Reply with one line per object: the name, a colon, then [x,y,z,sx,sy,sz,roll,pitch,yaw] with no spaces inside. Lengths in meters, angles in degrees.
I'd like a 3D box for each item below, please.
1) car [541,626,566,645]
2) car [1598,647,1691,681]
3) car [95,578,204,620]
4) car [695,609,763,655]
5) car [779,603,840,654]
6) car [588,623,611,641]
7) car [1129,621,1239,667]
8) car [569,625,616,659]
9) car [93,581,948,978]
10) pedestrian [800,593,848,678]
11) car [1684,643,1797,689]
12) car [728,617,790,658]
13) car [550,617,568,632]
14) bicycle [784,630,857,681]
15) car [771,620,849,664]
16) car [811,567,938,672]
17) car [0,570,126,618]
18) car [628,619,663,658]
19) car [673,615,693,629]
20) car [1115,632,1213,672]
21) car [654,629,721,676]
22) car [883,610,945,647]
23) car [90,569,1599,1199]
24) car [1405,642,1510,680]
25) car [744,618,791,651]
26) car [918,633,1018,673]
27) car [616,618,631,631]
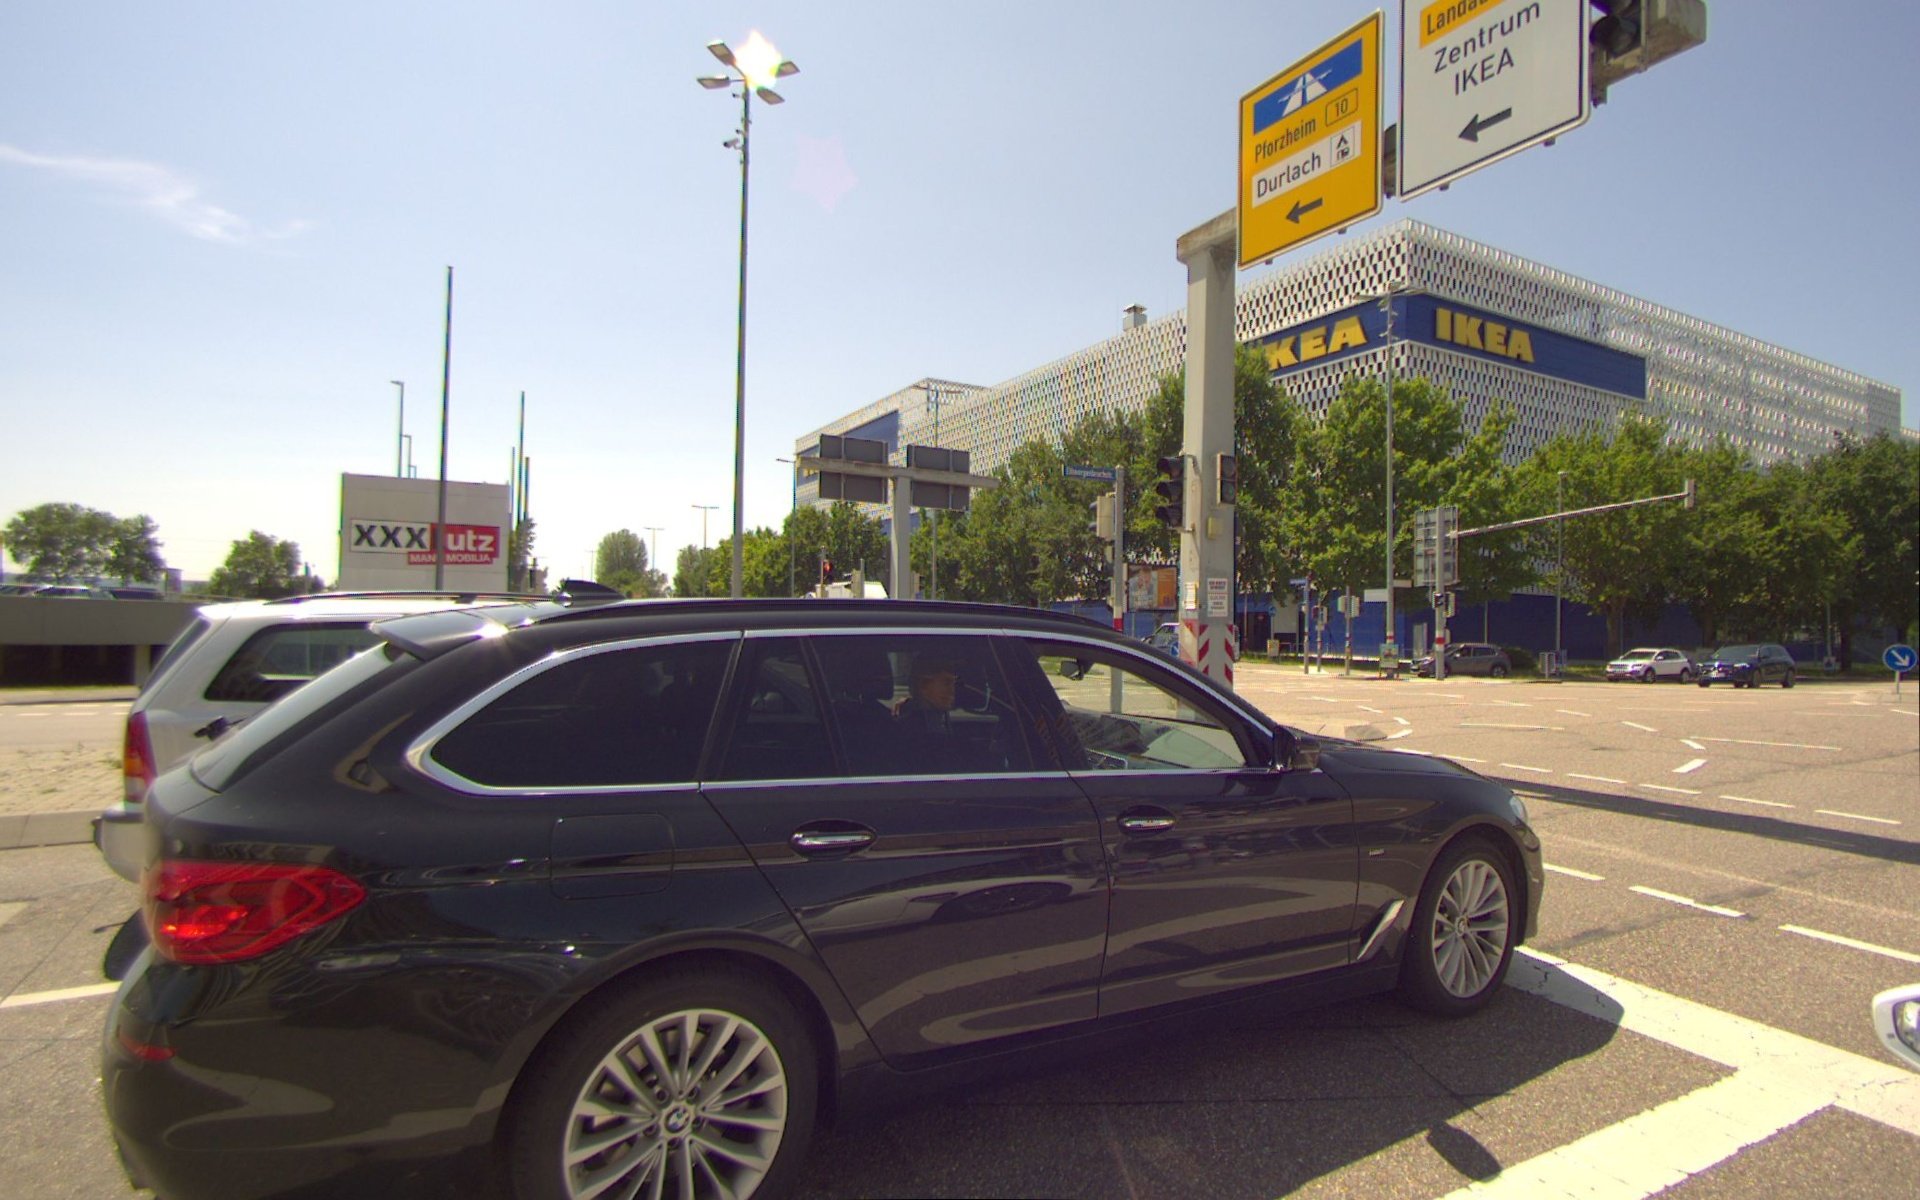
car: [-36.360,3.153,89.809,1.718,1.708,3.642,2,-2,-28]
car: [30.988,2.914,45.474,4.014,1.476,1.618,2,-2,-24]
car: [-40.439,-0.002,50.250,3.956,1.933,1.983,2,-2,-32]
car: [-13.875,1.901,60.019,2.542,2.568,6.587,2,-2,-26]
car: [-8.319,1.542,55.220,2.032,2.665,4.652,0,-2,-26]
car: [-42.002,3.713,117.066,1.906,2.040,3.971,2,-2,-28]
car: [10.416,2.011,46.628,4.674,2.034,1.999,0,-2,24]
car: [-23.129,2.607,63.137,1.815,2.040,3.963,2,-2,-34]
car: [-2.200,0.739,5.730,3.961,1.514,1.785,2,-1,-36]
pedestrian: [-3.367,0.878,24.905,0.856,2.040,0.899,1,-2,-35]
car: [29.421,2.483,37.859,4.444,1.619,1.866,2,-3,-30]
car: [-10.645,1.957,52.984,1.975,2.040,4.681,2,-2,-27]
car: [-73.593,4.521,184.181,2.877,2.724,6.126,2,-2,-24]
bicycle: [-3.508,1.360,25.085,0.987,1.229,2.079,2,-2,-35]
car: [-6.808,1.860,45.006,1.973,1.835,5.438,1,-2,-25]
car: [-3.359,0.729,37.572,2.156,3.532,6.875,0,-1,-28]
car: [-39.436,-0.224,44.119,3.953,1.957,1.984,2,-2,-30]
car: [-16.814,2.029,53.562,1.594,2.040,3.863,1,-2,-20]
car: [-40.460,3.219,146.742,1.974,2.040,3.972,2,-1,-27]
car: [7.754,1.963,38.568,1.648,1.429,4.215,2,-2,-22]
car: [-9.519,1.800,34.857,1.904,1.528,3.982,1,-2,-20]
car: [-2.696,1.660,57.269,1.972,1.607,4.673,2,-8,-24]
car: [0.120,0.745,3.564,4.570,1.485,1.791,1,-1,-31]
car: [21.561,2.633,43.648,3.680,1.553,1.777,1,-2,0]
car: [-12.323,2.203,64.167,1.974,2.014,3.974,2,-3,-26]
car: [0.225,1.887,36.653,1.756,1.360,4.262,1,-2,-30]
car: [-53.623,3.907,159.942,1.971,2.040,3.979,2,-2,-22]
